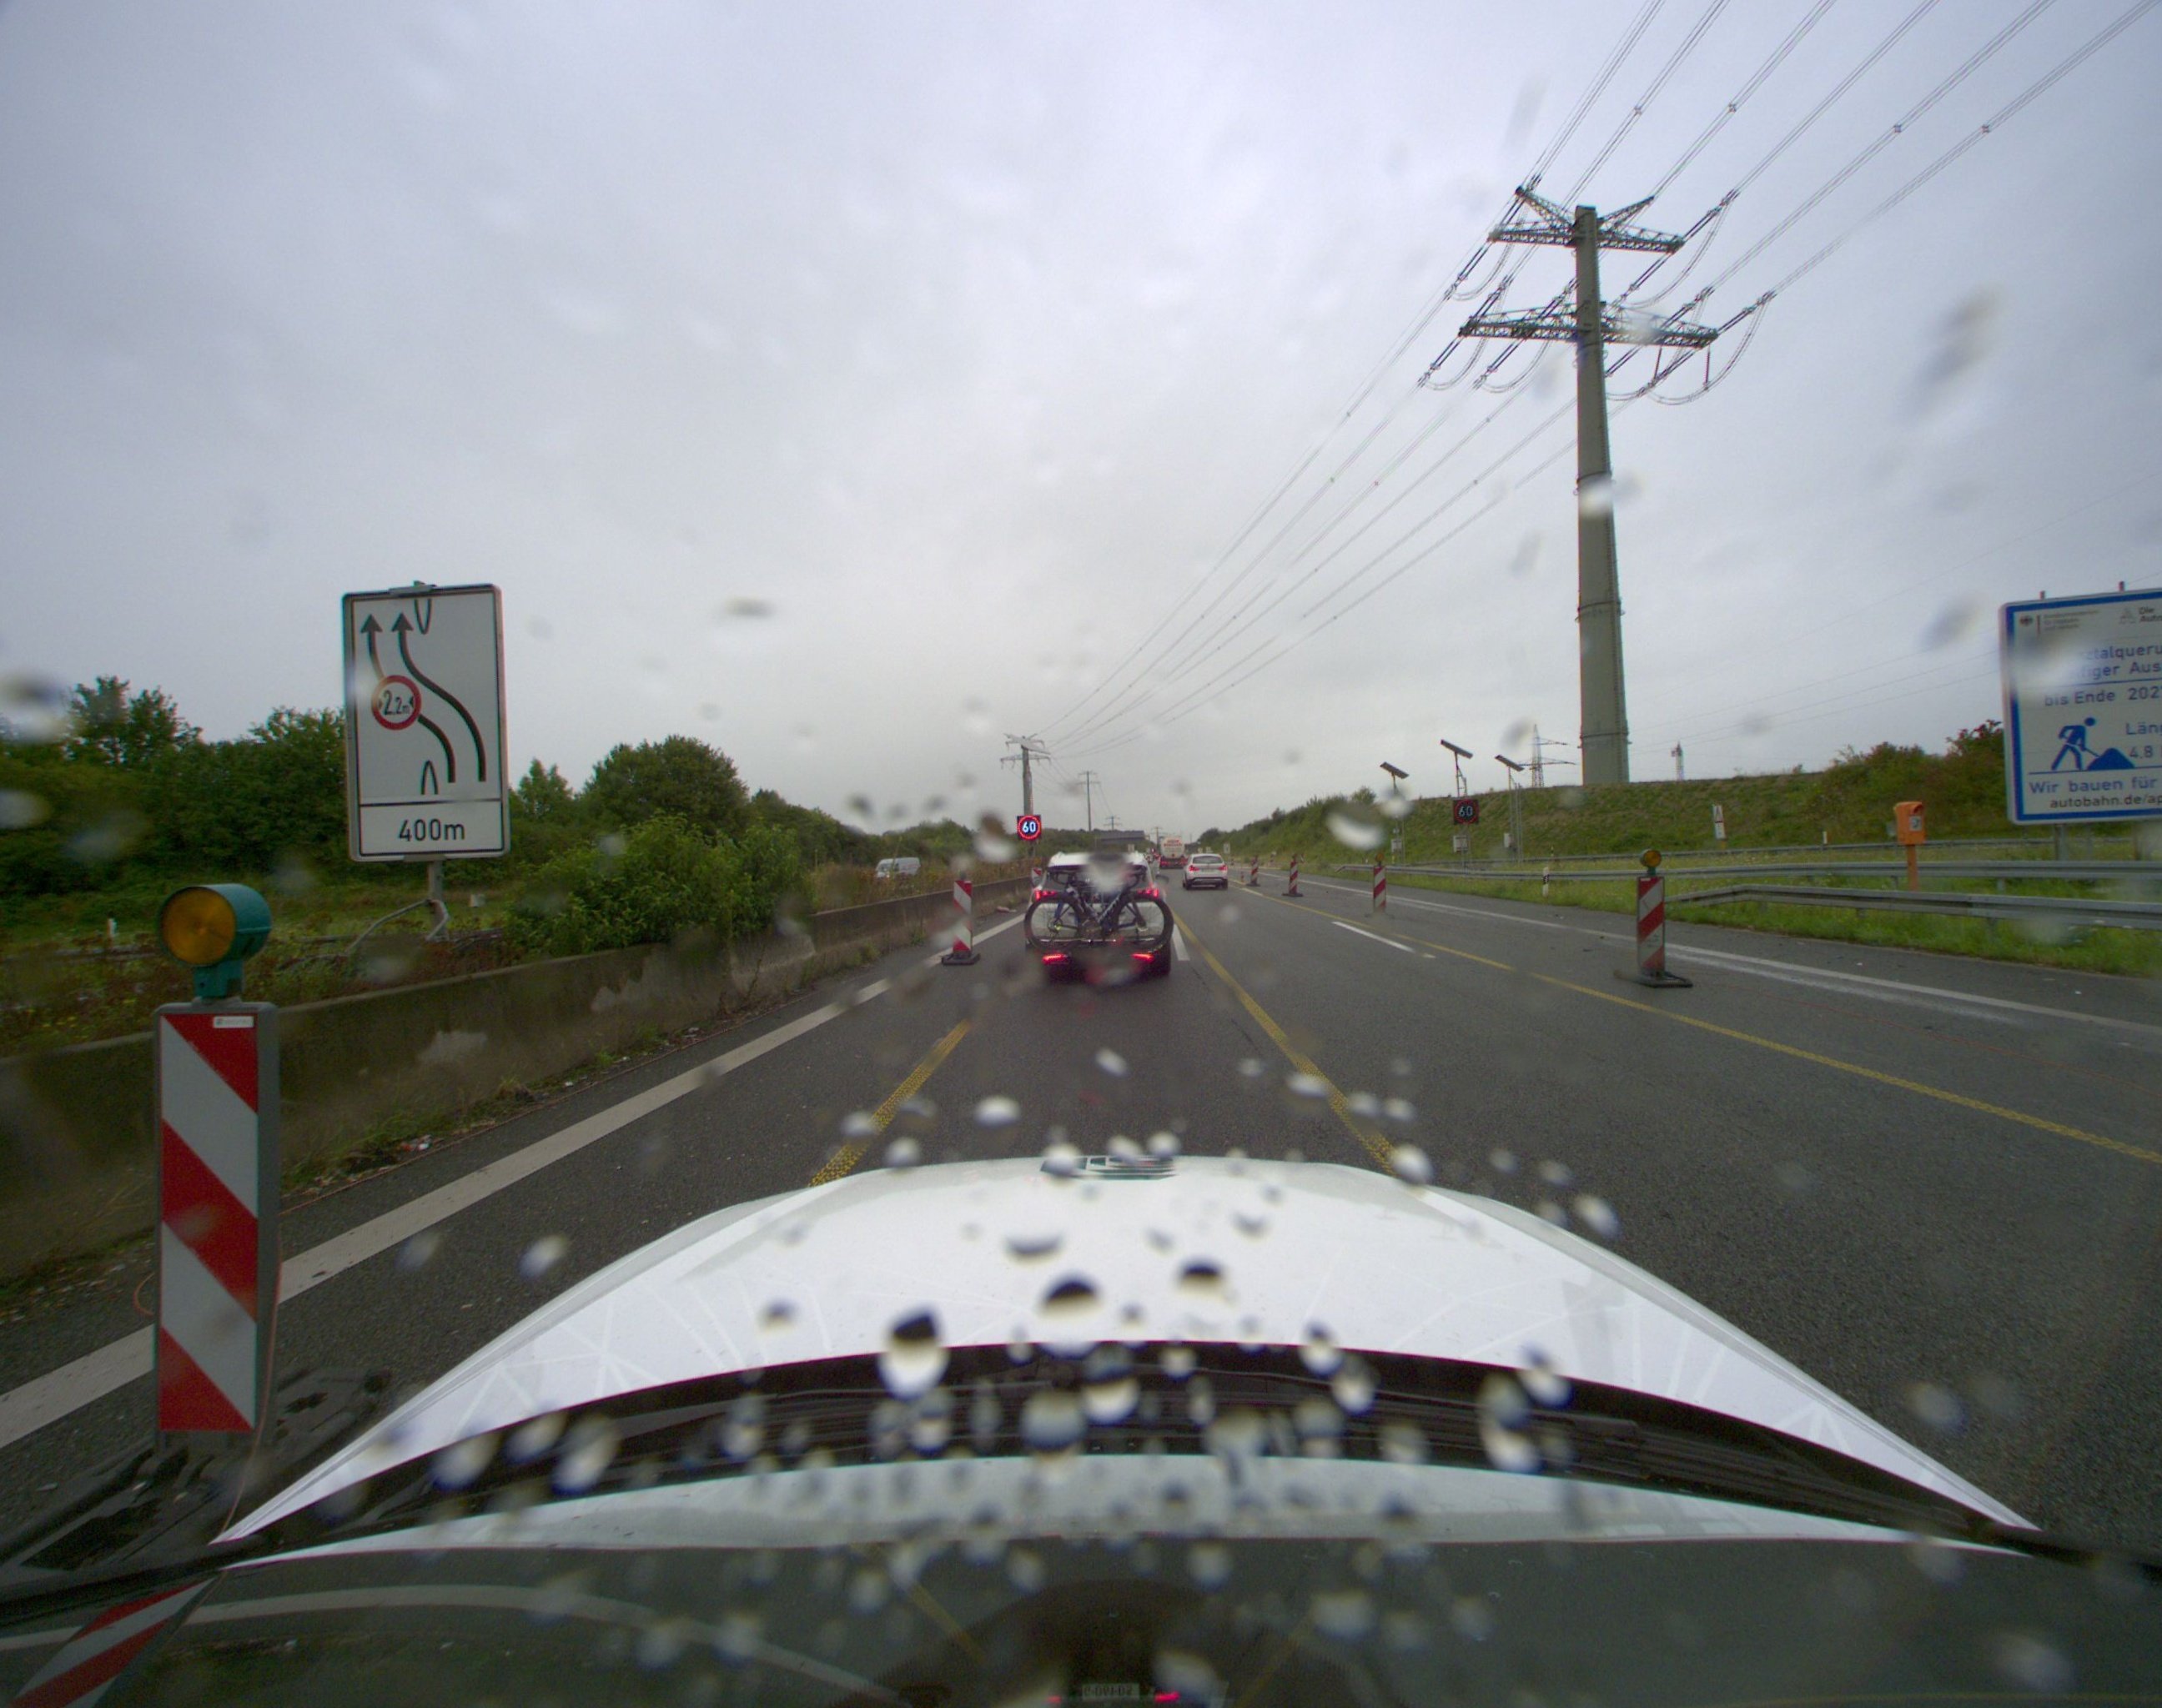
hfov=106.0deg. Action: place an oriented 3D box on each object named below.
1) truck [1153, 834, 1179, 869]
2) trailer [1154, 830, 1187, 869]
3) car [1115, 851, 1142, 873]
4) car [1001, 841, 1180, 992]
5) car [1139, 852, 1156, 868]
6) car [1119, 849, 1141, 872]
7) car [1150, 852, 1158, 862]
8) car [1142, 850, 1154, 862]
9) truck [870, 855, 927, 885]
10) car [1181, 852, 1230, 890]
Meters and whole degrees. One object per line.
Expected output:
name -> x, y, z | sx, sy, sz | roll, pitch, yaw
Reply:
truck -> 9.732, -0.270, 93.782 | 2.635, 3.891, 4.031 | 0, -1, 2
trailer -> 9.491, -0.350, 87.325 | 2.627, 3.893, 10.547 | 0, -1, 2
car -> 3.589, 0.622, 62.298 | 1.986, 1.584, 4.002 | -1, 0, 2
car -> 0.272, 0.682, 11.111 | 1.919, 1.611, 4.600 | -1, 0, 4
car -> 8.336, 0.789, 102.323 | 1.986, 2.014, 4.002 | 0, -1, 2
car -> 4.618, 0.624, 77.279 | 1.986, 2.013, 4.002 | -3, 0, 2
car -> 15.922, 0.608, 177.735 | 1.645, 2.013, 4.007 | -1, 0, 6
car -> 11.533, 0.338, 140.113 | 1.986, 2.014, 4.002 | 0, -1, 2
truck -> -16.786, 1.431, 75.485 | 1.977, 2.428, 6.464 | -3, 0, 19
car -> 5.400, 0.710, 35.728 | 1.861, 1.535, 4.203 | -1, 0, 5
